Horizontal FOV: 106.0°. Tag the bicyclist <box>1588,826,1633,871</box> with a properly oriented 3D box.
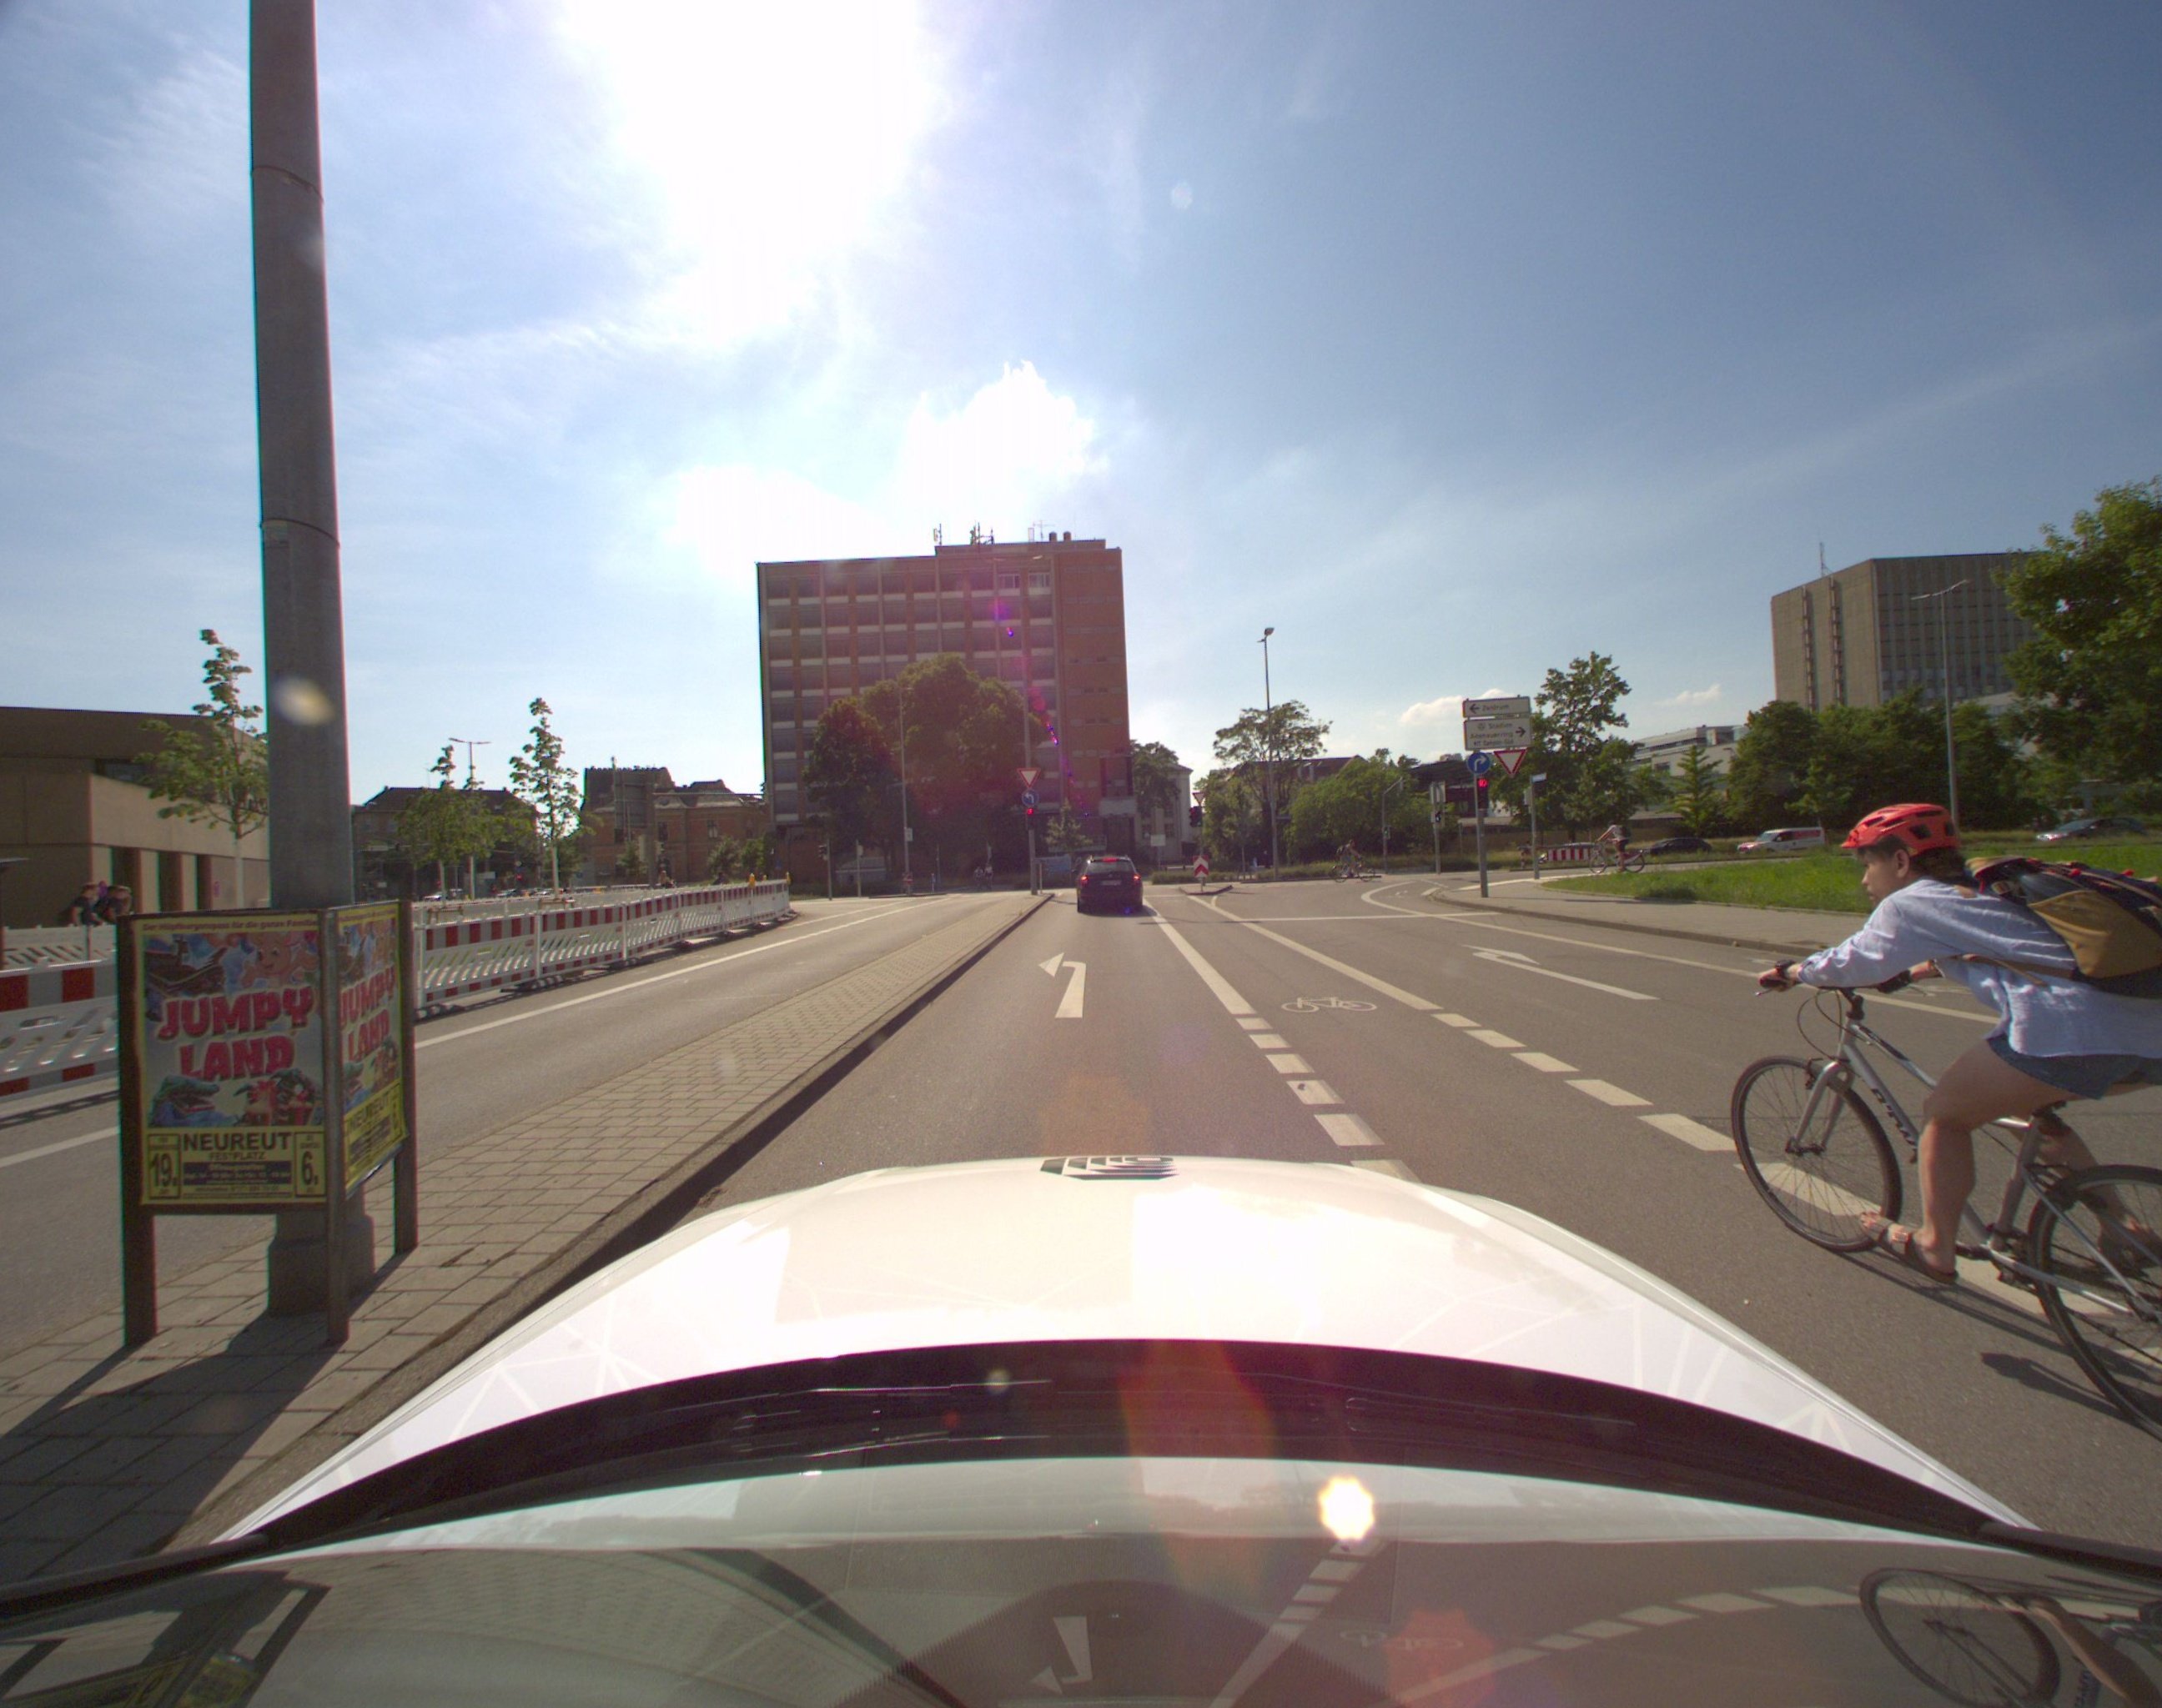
[{"bbox_3d":[17.771,-0.171,27.334,0.499,1.470,1.129,1,-2,-40],"label":"bicyclist"}]

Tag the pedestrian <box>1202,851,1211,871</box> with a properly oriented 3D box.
[{"bbox_3d":[11.665,0.664,75.789,0.591,1.874,0.642,-1,-2,24],"label":"pedestrian"}]

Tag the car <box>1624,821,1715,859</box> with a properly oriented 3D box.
[{"bbox_3d":[35.729,-0.826,49.544,3.970,2.013,2.002,-3,0,3],"label":"car"}]

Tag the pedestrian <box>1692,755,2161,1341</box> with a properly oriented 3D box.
[{"bbox_3d":[2.615,0.489,2.568,0.581,1.466,1.013,-2,-1,1],"label":"pedestrian"}]

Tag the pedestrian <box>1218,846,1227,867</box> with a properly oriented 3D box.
[{"bbox_3d":[12.913,0.261,74.321,0.634,1.874,0.796,-4,0,1],"label":"pedestrian"}]

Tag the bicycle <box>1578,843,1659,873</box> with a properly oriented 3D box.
[{"bbox_3d":[17.917,0.140,27.189,0.678,0.916,2.143,-3,-1,-41],"label":"bicycle"}]

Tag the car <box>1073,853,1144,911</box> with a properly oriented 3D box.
[{"bbox_3d":[0.760,0.707,22.367,1.773,1.443,3.819,-1,0,2],"label":"car"}]

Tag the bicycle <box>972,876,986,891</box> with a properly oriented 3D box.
[{"bbox_3d":[-7.084,2.063,56.811,0.702,0.977,2.030,-3,0,0],"label":"bicycle"}]

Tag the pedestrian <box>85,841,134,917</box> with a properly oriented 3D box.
[{"bbox_3d":[-23.317,0.599,19.552,0.538,1.778,0.572,-3,-1,22],"label":"pedestrian"}]

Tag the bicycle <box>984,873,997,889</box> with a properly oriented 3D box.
[{"bbox_3d":[-5.785,1.716,51.932,0.617,0.961,1.965,-5,0,-3],"label":"bicycle"}]

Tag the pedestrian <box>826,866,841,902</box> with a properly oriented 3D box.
[{"bbox_3d":[-13.966,1.676,45.990,0.619,2.014,0.679,0,-2,-36],"label":"pedestrian"}]

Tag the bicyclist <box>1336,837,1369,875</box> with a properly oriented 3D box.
[{"bbox_3d":[11.017,0.066,33.090,1.157,1.474,0.566,-3,0,13],"label":"bicyclist"}]

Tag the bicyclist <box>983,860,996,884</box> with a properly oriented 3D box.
[{"bbox_3d":[-5.834,1.141,51.900,0.617,1.443,0.919,-5,0,-4],"label":"bicyclist"}]

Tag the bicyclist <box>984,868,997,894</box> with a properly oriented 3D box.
[{"bbox_3d":[-5.784,1.716,51.904,0.617,1.581,1.012,-5,0,-3],"label":"bicyclist"}]

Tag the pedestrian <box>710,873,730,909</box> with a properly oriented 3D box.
[{"bbox_3d":[-15.583,1.595,35.166,0.632,1.491,0.614,-3,0,-15],"label":"pedestrian"}]

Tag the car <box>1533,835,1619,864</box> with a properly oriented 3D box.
[{"bbox_3d":[30.034,-0.254,49.488,3.973,1.464,2.000,-3,-1,1],"label":"car"}]

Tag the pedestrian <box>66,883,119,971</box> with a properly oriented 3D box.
[{"bbox_3d":[-22.401,1.640,18.458,0.436,1.915,0.609,-3,-1,22],"label":"pedestrian"}]

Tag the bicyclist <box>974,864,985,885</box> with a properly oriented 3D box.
[{"bbox_3d":[-7.102,1.458,56.844,0.537,1.417,1.030,-4,-1,0],"label":"bicyclist"}]

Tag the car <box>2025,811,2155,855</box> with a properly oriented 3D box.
[{"bbox_3d":[53.561,-1.088,43.301,3.966,2.014,2.003,-3,-3,6],"label":"car"}]

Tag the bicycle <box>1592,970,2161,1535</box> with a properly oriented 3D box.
[{"bbox_3d":[2.635,0.998,2.725,0.594,0.931,2.029,-2,0,1],"label":"bicycle"}]

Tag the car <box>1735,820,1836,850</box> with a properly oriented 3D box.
[{"bbox_3d":[42.056,-1.117,48.683,4.295,1.569,1.910,-3,0,1],"label":"car"}]

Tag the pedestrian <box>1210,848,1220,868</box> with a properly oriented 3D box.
[{"bbox_3d":[12.418,0.367,75.422,0.787,1.874,0.642,-1,-2,22],"label":"pedestrian"}]

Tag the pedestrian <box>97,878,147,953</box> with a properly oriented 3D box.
[{"bbox_3d":[-22.647,1.444,19.236,0.534,1.708,0.572,-3,-1,22],"label":"pedestrian"}]

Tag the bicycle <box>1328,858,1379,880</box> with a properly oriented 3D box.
[{"bbox_3d":[11.055,0.628,33.070,1.876,0.792,0.562,-3,1,13],"label":"bicycle"}]

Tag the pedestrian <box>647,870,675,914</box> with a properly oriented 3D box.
[{"bbox_3d":[-17.322,1.556,33.603,0.737,1.752,1.105,-3,-3,-15],"label":"pedestrian"}]
